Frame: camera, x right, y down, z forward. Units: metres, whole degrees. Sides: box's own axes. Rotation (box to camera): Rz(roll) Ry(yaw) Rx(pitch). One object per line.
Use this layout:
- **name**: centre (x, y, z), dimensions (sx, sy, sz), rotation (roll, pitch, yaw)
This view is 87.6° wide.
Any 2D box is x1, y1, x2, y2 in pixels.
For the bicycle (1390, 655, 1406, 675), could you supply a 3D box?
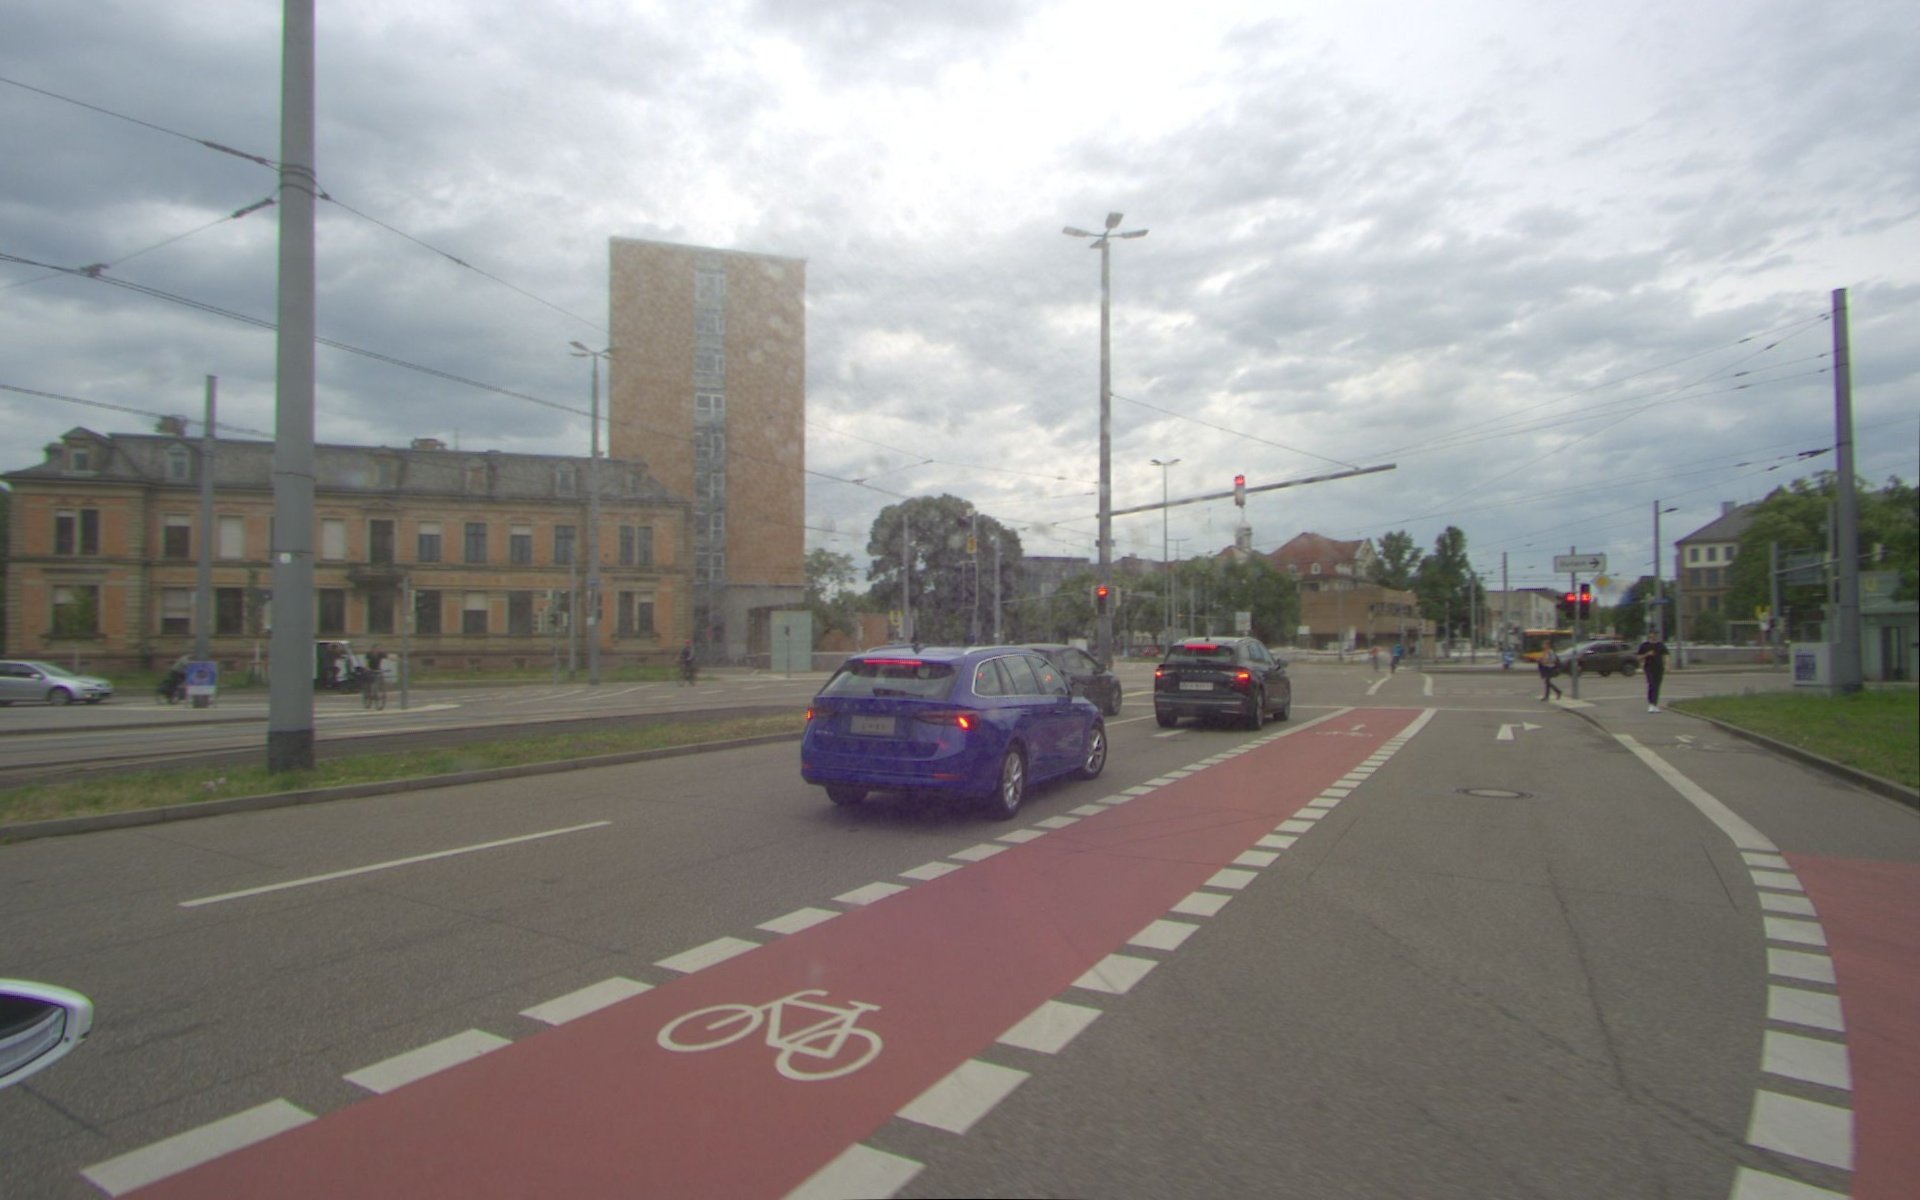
- **bicycle**: centre (25.922, 3.848, 59.323), dimensions (0.854, 1.118, 2.297), rotation (-1, -3, 23)

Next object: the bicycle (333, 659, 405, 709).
- **bicycle**: centre (-15.822, 2.243, 26.790), dimensions (1.971, 1.258, 0.812), rotation (-3, -2, 31)

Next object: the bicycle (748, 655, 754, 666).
- **bicycle**: centre (-19.047, 5.503, 91.067), dimensions (0.473, 1.062, 1.427), rotation (0, -2, -14)

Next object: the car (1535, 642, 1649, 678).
- **car**: centre (29.648, 2.795, 47.102), dimensions (4.148, 1.660, 1.805), rotation (0, -2, 5)

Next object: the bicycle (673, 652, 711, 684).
- **bicycle**: centre (-10.891, 2.747, 40.759), dimensions (0.810, 1.223, 2.236), rotation (-1, -3, 3)

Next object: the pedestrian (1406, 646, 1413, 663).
- **pedestrian**: centre (49.083, 5.942, 109.313), dimensions (0.614, 1.942, 0.707), rotation (-1, -2, 32)

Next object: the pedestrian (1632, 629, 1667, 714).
- **pedestrian**: centre (15.501, 1.588, 22.510), dimensions (0.531, 1.867, 0.979), rotation (-2, -2, 40)

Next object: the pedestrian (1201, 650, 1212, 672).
- **pedestrian**: centre (17.769, 4.407, 72.233), dimensions (0.716, 1.561, 0.417), rotation (-1, -2, 16)

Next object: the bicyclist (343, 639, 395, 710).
- **bicyclist**: centre (-15.814, 1.976, 26.787), dimensions (1.014, 1.821, 0.812), rotation (-1, -1, 30)

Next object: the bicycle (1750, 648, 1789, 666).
- **bicycle**: centre (61.892, 4.342, 76.616), dimensions (2.240, 1.347, 0.703), rotation (-2, -4, 36)

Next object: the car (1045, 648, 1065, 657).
- **car**: centre (16.270, 8.998, 171.569), dimensions (1.751, 1.482, 3.992), rotation (1, -3, -20)

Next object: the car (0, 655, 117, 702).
- **car**: centre (-30.450, 2.552, 32.714), dimensions (4.082, 1.472, 1.762), rotation (0, -2, -9)

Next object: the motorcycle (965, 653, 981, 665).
- **motorcycle**: centre (1.249, 5.738, 97.022), dimensions (0.506, 1.125, 1.731), rotation (-2, -3, 41)

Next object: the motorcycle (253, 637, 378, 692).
- **motorcycle**: centre (-24.486, 2.432, 38.174), dimensions (3.620, 2.039, 1.695), rotation (1, -2, -13)

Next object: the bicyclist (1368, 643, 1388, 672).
- **bicyclist**: centre (25.908, 3.568, 62.067), dimensions (0.868, 1.754, 0.895), rotation (0, -2, 7)

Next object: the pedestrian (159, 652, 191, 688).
- **pedestrian**: centre (-39.776, 3.546, 50.741), dimensions (1.109, 1.785, 0.756), rotation (1, -2, -24)

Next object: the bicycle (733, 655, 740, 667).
- **bicycle**: centre (-20.235, 5.503, 90.698), dimensions (0.562, 1.119, 1.427), rotation (0, -2, -14)

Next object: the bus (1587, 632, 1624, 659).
- **bus**: centre (82.157, 5.846, 127.364), dimensions (2.631, 3.324, 10.916), rotation (-2, -3, 39)

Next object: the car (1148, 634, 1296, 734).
- **car**: centre (5.001, 1.475, 18.673), dimensions (1.755, 1.617, 4.495), rotation (-1, -3, 27)

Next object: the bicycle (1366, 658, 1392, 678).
- **bicycle**: centre (25.901, 4.176, 62.001), dimensions (0.877, 1.193, 2.303), rotation (0, -2, 7)

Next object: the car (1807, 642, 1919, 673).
- **car**: centre (43.384, 2.736, 47.962), dimensions (4.307, 1.413, 1.699), rotation (0, -2, -4)

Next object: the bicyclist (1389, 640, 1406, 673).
- **bicyclist**: centre (25.946, 3.353, 59.430), dimensions (0.860, 1.874, 1.045), rotation (-3, -3, 23)

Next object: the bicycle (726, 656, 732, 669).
- **bicycle**: centre (-20.869, 5.623, 90.493), dimensions (0.562, 1.119, 1.427), rotation (0, -2, -14)

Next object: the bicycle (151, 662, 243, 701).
- **bicycle**: centre (-24.606, 2.611, 32.331), dimensions (2.157, 1.223, 0.857), rotation (0, -3, -12)

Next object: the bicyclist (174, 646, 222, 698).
- **bicyclist**: centre (-24.603, 2.312, 32.347), dimensions (0.900, 1.643, 0.855), rotation (0, -3, -12)

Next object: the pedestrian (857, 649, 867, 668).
- **pedestrian**: centre (-6.970, 4.132, 71.123), dimensions (0.564, 1.352, 0.498), rotation (1, -2, -22)

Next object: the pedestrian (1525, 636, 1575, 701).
- **pedestrian**: centre (17.869, 2.070, 30.335), dimensions (1.084, 1.931, 0.735), rotation (1, -2, -14)

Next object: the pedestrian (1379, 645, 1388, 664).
- **pedestrian**: centre (43.579, 5.659, 103.136), dimensions (0.701, 1.942, 0.619), rotation (-1, -2, 36)

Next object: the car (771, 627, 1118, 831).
- **car**: centre (0.143, 1.092, 9.845), dimensions (1.756, 1.506, 4.456), rotation (-1, -3, 23)

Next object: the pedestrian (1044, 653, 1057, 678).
- **pedestrian**: centre (7.138, 5.178, 78.830), dimensions (1.010, 1.958, 0.701), rotation (0, -2, 3)

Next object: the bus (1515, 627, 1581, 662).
- **bus**: centre (54.915, 4.169, 93.304), dimensions (2.939, 3.162, 11.443), rotation (-2, -3, 42)

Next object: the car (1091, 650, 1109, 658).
- **car**: centre (24.582, 9.501, 176.403), dimensions (1.750, 1.482, 3.996), rotation (1, -3, -15)

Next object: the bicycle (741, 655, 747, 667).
- **bicycle**: centre (-19.601, 5.514, 90.864), dimensions (0.500, 1.062, 1.427), rotation (0, -2, -14)

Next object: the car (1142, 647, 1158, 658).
- **car**: centre (27.345, 7.516, 144.410), dimensions (1.747, 1.482, 4.002), rotation (0, -2, 4)

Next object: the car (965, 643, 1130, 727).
- **car**: centre (1.819, 1.595, 19.728), dimensions (1.686, 1.467, 3.794), rotation (-1, -3, 32)

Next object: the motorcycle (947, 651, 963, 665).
- **motorcycle**: centre (-0.477, 5.569, 95.789), dimensions (1.447, 1.284, 0.511), rotation (1, -2, -18)

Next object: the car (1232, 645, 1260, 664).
- **car**: centre (27.507, 5.257, 96.321), dimensions (1.961, 1.704, 4.004), rotation (0, -4, 7)

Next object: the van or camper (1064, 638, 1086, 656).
- **van or camper**: centre (20.674, 8.473, 180.168), dimensions (2.352, 3.163, 5.501), rotation (0, -3, -13)

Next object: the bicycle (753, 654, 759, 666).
- **bicycle**: centre (-18.542, 5.495, 91.198), dimensions (0.473, 1.062, 1.427), rotation (0, -2, -14)

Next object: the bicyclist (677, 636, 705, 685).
- **bicyclist**: centre (-10.897, 2.445, 40.614), dimensions (0.815, 1.915, 1.049), rotation (-1, -2, 3)
